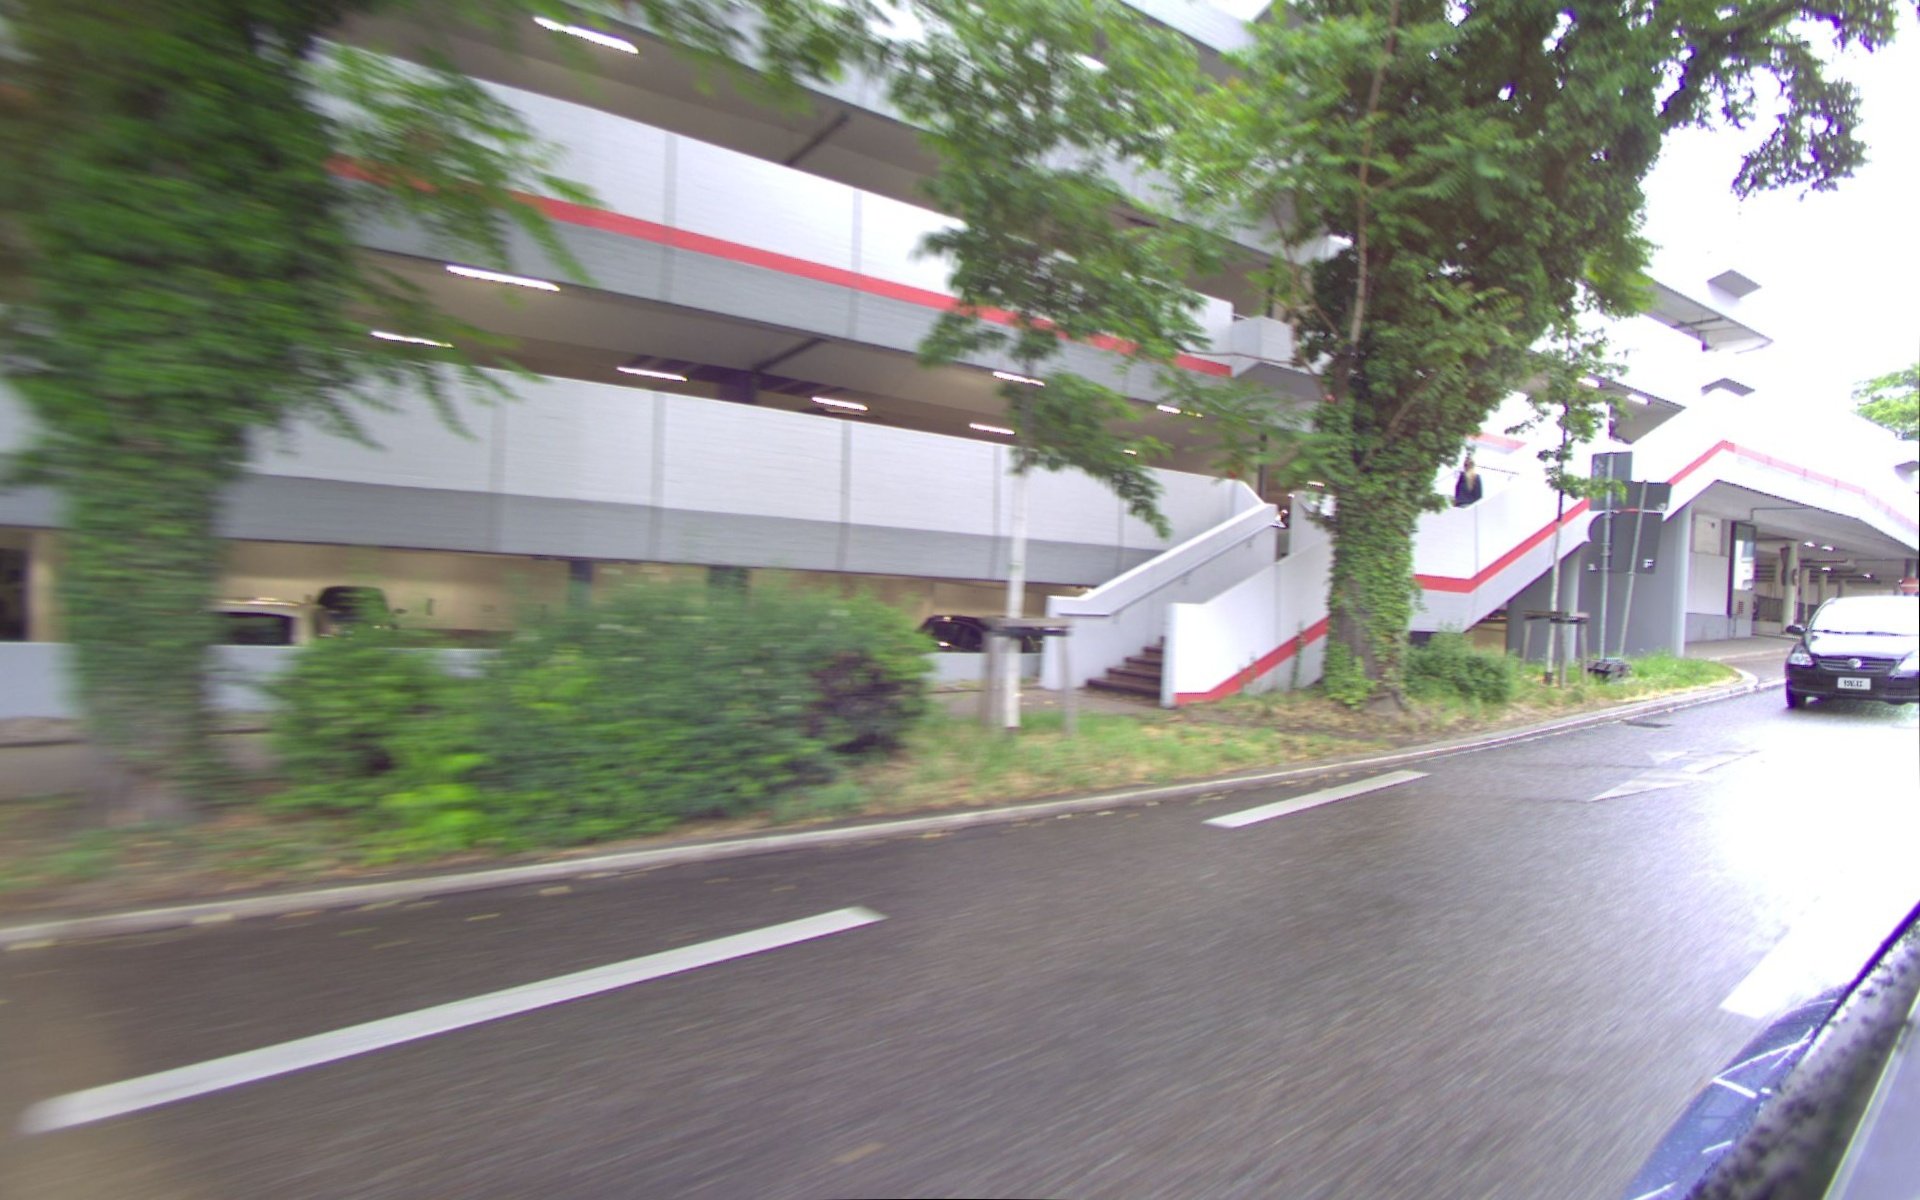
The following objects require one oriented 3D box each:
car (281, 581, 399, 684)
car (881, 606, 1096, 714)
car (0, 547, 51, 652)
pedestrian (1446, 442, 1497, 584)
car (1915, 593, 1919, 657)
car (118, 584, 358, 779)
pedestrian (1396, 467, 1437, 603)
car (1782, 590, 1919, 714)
[{"bbox_3d":[-12.400,0.559,20.449,1.779,1.805,4.006,1,1,-28],"label":"car"},{"bbox_3d":[0.388,0.978,17.485,1.776,1.560,3.745,4,-1,-35],"label":"car"},{"bbox_3d":[-17.605,-0.033,17.567,1.779,1.805,4.006,1,1,-28],"label":"car"},{"bbox_3d":[8.048,-1.348,15.922,0.484,2.181,0.515,0,1,-36],"label":"pedestrian"},{"bbox_3d":[24.287,0.565,24.108,3.968,1.470,1.913,-1,1,-42],"label":"car"},{"bbox_3d":[-8.052,0.762,11.608,1.779,1.805,3.472,1,1,-28],"label":"car"},{"bbox_3d":[7.455,-1.052,16.530,0.426,2.181,0.422,0,1,-36],"label":"pedestrian"},{"bbox_3d":[13.128,0.665,14.332,3.920,1.545,1.682,1,-1,-41],"label":"car"}]
